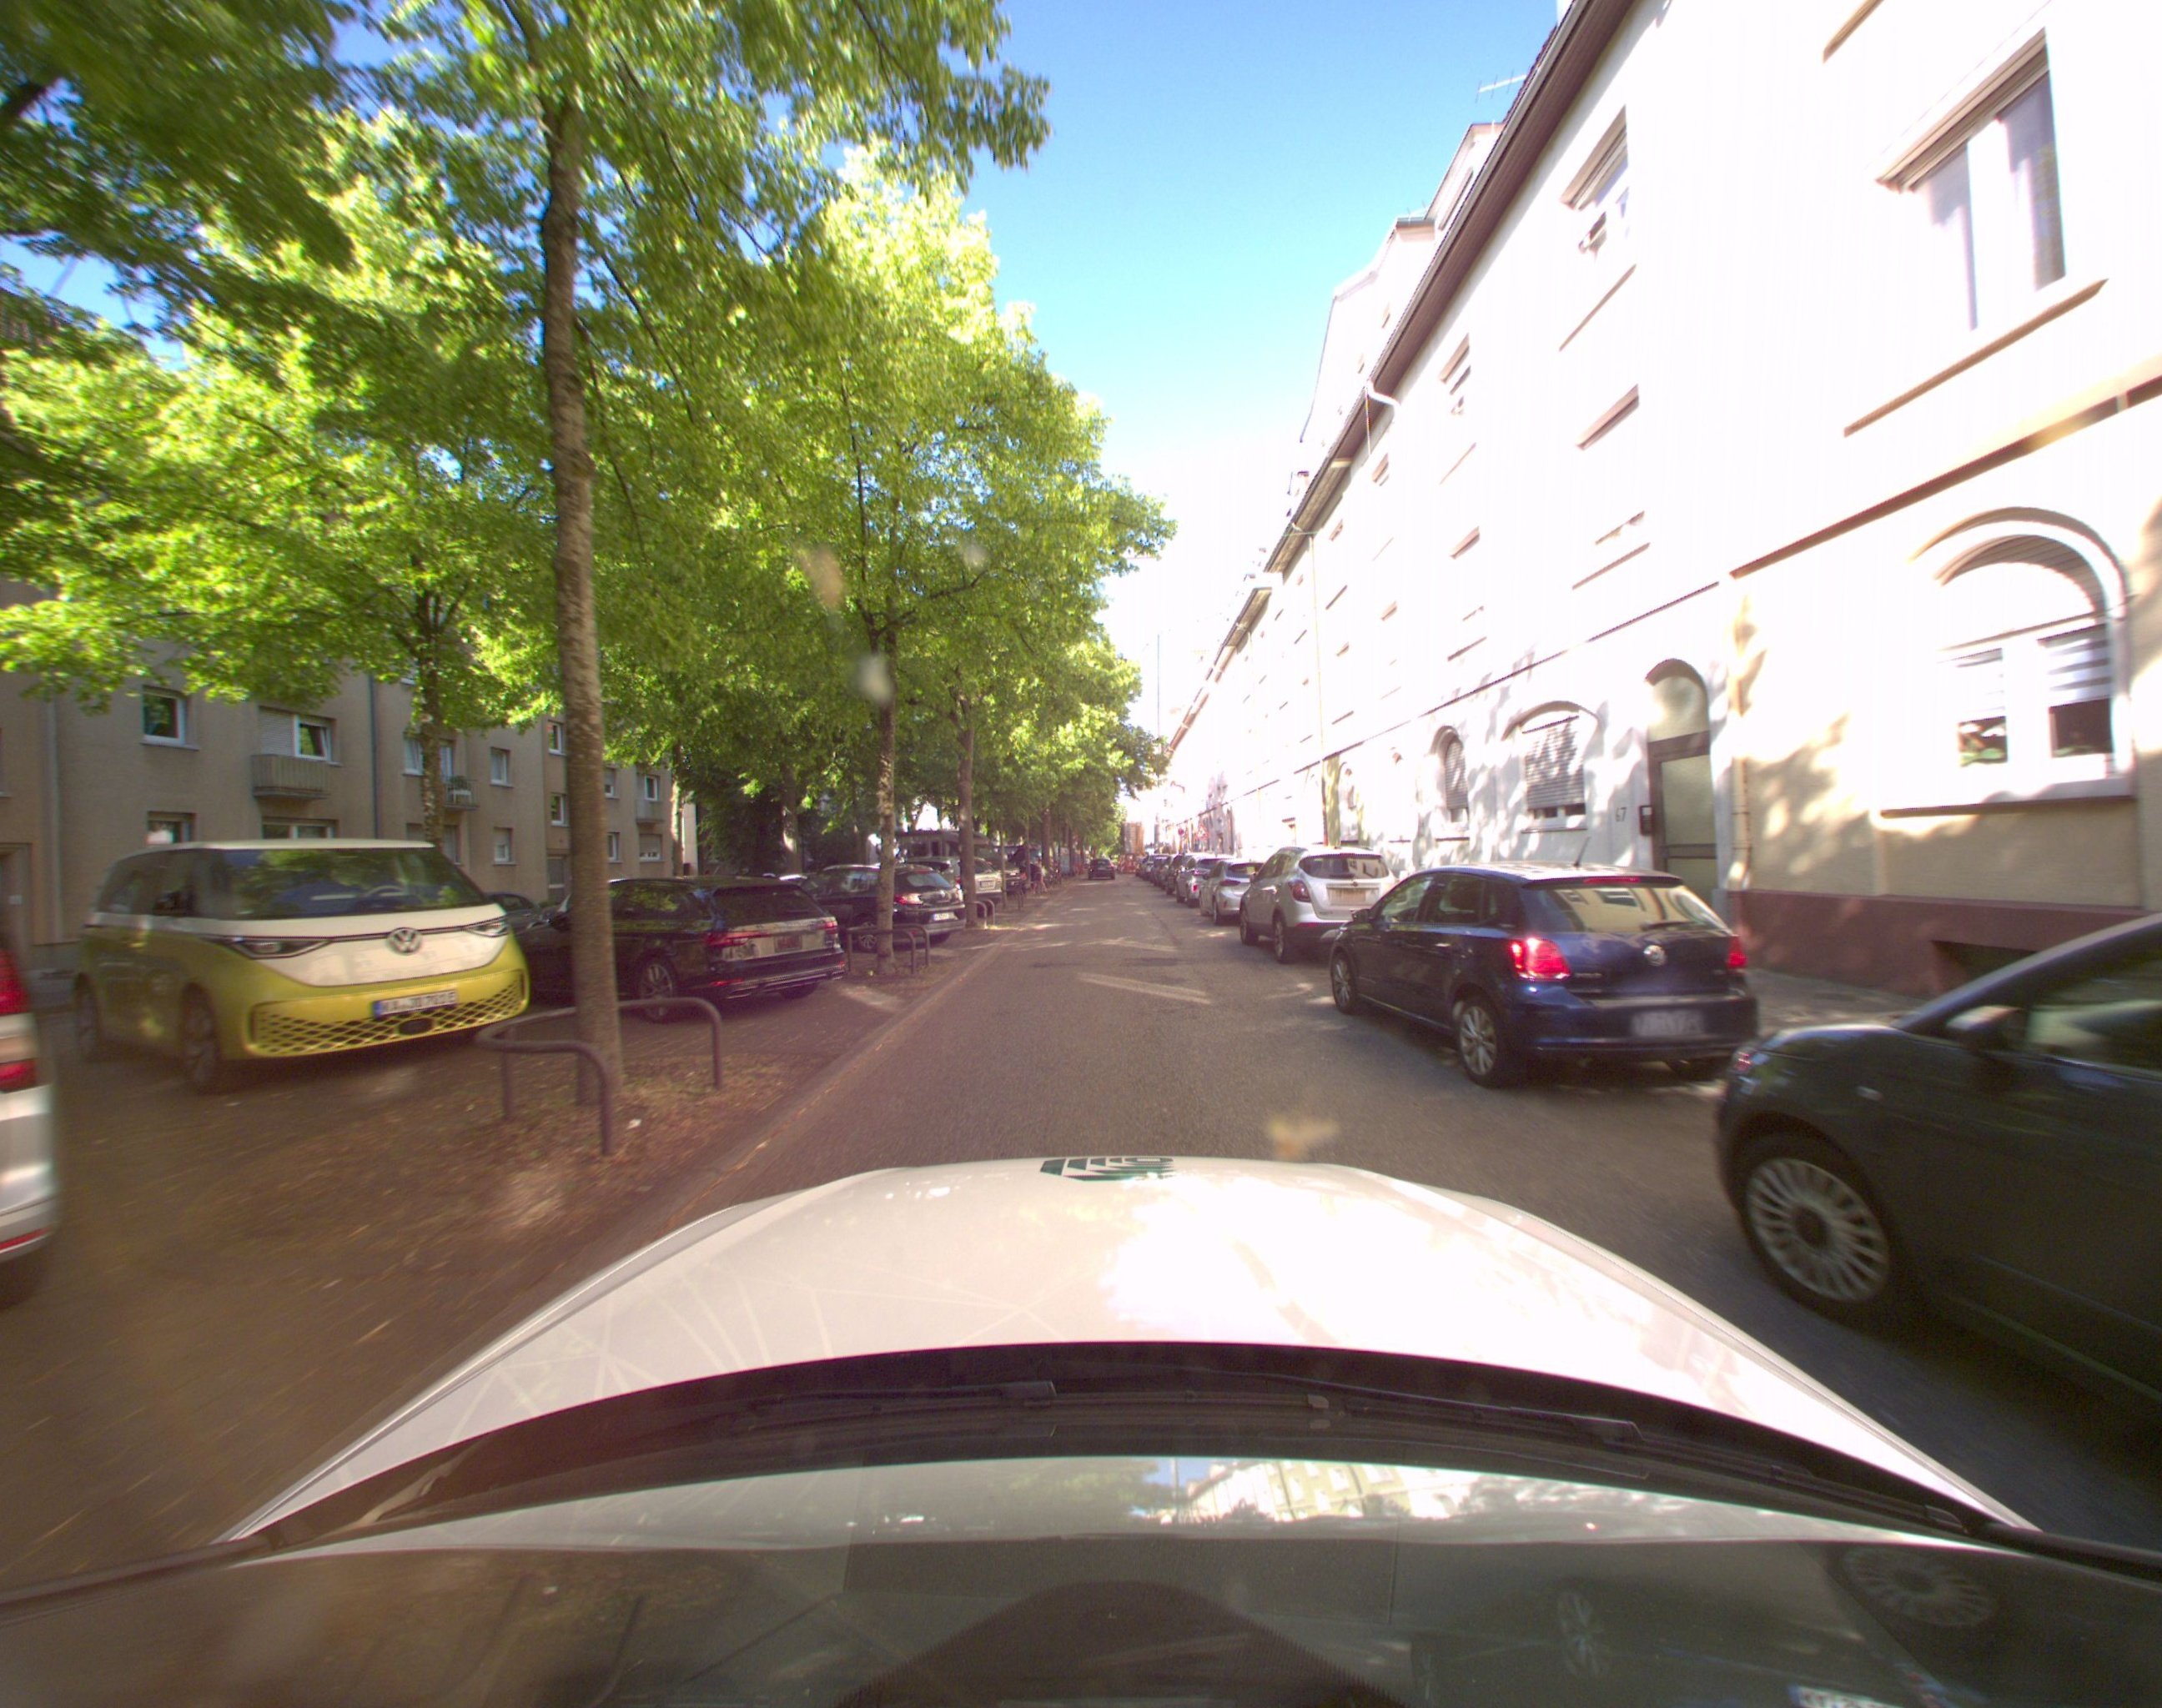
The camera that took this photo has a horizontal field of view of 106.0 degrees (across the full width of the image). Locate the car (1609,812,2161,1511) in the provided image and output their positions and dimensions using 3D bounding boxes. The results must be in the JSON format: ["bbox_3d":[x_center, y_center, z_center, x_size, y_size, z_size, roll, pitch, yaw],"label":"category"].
[{"bbox_3d":[3.119,0.638,1.711,1.616,1.498,3.594,-3,0,0],"label":"car"}]

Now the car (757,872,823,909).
[{"bbox_3d":[-14.077,1.734,39.610,1.657,1.499,3.771,-3,0,2],"label":"car"}]

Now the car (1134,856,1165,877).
[{"bbox_3d":[5.055,0.873,60.847,1.987,1.409,4.501,-2,0,1],"label":"car"}]

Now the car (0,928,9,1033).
[{"bbox_3d":[-15.336,1.740,8.869,1.885,1.387,4.001,-4,0,2],"label":"car"}]

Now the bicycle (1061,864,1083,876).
[{"bbox_3d":[-0.803,1.393,70.356,1.879,1.006,0.433,-3,-1,25],"label":"bicycle"}]

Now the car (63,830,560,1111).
[{"bbox_3d":[-7.030,0.868,7.345,4.546,1.832,2.031,-4,-1,31],"label":"car"}]

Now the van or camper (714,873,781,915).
[{"bbox_3d":[-14.206,1.666,34.850,1.590,1.555,2.698,-3,0,2],"label":"van or camper"}]

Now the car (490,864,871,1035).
[{"bbox_3d":[-4.638,0.953,9.208,4.431,1.455,1.799,-3,0,33],"label":"car"}]

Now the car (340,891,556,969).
[{"bbox_3d":[-14.829,1.715,19.410,1.885,1.418,4.001,-3,0,2],"label":"car"}]

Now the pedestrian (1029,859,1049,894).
[{"bbox_3d":[-1.830,0.977,35.413,0.609,1.456,0.522,-3,0,25],"label":"pedestrian"}]

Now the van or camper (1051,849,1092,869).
[{"bbox_3d":[-1.353,0.755,114.581,5.280,2.474,2.309,-3,0,34],"label":"van or camper"}]

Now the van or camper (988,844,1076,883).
[{"bbox_3d":[-3.368,0.662,55.770,5.447,2.275,2.234,-3,0,25],"label":"van or camper"}]

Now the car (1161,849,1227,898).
[{"bbox_3d":[4.090,0.662,30.089,1.718,1.596,4.155,-3,0,-1],"label":"car"}]

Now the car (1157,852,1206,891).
[{"bbox_3d":[4.262,0.715,34.986,1.625,1.534,3.592,-3,0,0],"label":"car"}]

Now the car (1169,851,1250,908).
[{"bbox_3d":[3.825,0.711,24.828,1.717,1.528,4.157,-3,0,0],"label":"car"}]

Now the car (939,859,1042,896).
[{"bbox_3d":[-4.016,1.060,36.140,4.274,1.424,1.685,-3,0,28],"label":"car"}]

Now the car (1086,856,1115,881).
[{"bbox_3d":[1.305,0.936,54.654,1.791,1.503,3.586,-3,0,1],"label":"car"}]

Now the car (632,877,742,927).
[{"bbox_3d":[-14.414,1.706,30.077,1.757,1.508,4.311,-3,0,2],"label":"car"}]

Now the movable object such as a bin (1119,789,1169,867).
[{"bbox_3d":[5.720,-2.284,73.804,3.444,6.759,2.384,-3,-1,34],"label":"movable object such as a bin"}]

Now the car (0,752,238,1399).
[{"bbox_3d":[-5.387,0.730,2.847,4.467,1.865,2.093,-3,0,26],"label":"car"}]

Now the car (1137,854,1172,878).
[{"bbox_3d":[5.007,0.816,55.910,1.786,1.523,3.960,-3,0,-3],"label":"car"}]

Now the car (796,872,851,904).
[{"bbox_3d":[-14.115,1.850,44.903,1.657,1.499,3.771,-3,0,2],"label":"car"}]

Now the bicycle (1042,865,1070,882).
[{"bbox_3d":[-1.583,1.226,52.046,1.730,1.006,0.507,-3,0,-29],"label":"bicycle"}]

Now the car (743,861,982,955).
[{"bbox_3d":[-4.060,0.949,14.858,4.366,1.462,1.727,-3,-1,34],"label":"car"}]

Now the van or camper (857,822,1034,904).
[{"bbox_3d":[-5.687,0.412,33.755,7.157,2.929,2.328,-3,0,28],"label":"van or camper"}]

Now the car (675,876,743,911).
[{"bbox_3d":[-18.792,1.963,41.348,1.618,1.482,3.613,-3,0,2],"label":"car"}]

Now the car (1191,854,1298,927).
[{"bbox_3d":[3.725,0.767,19.235,1.716,1.432,4.159,-3,0,1],"label":"car"}]

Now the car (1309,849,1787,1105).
[{"bbox_3d":[3.260,0.710,6.655,1.545,1.394,3.858,-3,0,-2],"label":"car"}]

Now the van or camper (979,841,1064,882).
[{"bbox_3d":[-4.401,0.571,60.044,5.811,2.637,2.269,-3,0,31],"label":"van or camper"}]

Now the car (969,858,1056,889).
[{"bbox_3d":[-3.650,1.047,43.161,4.431,1.443,1.744,-3,0,34],"label":"car"}]

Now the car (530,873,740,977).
[{"bbox_3d":[-7.654,1.139,13.888,3.586,1.455,1.830,-3,0,38],"label":"car"}]

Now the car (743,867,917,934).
[{"bbox_3d":[-6.018,1.042,19.393,3.990,1.403,1.835,-1,0,34],"label":"car"}]

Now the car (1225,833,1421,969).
[{"bbox_3d":[3.532,0.614,12.725,1.717,1.686,4.156,-3,0,-1],"label":"car"}]

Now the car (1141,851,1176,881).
[{"bbox_3d":[4.767,0.713,50.479,1.810,1.674,4.675,-3,0,2],"label":"car"}]

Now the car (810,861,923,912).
[{"bbox_3d":[-7.226,1.114,27.406,3.498,1.507,1.769,-3,0,35],"label":"car"}]

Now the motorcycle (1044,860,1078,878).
[{"bbox_3d":[-1.553,1.159,63.921,2.534,1.258,0.765,-3,0,9],"label":"motorcycle"}]

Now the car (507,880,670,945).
[{"bbox_3d":[-14.681,1.687,24.642,1.986,1.508,4.535,-3,0,2],"label":"car"}]

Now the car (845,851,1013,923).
[{"bbox_3d":[-4.033,0.881,21.433,4.094,1.679,1.770,-3,0,30],"label":"car"}]

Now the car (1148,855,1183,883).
[{"bbox_3d":[4.629,0.812,45.022,1.611,1.413,3.789,-3,0,2],"label":"car"}]

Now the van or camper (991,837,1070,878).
[{"bbox_3d":[-4.545,0.344,73.162,6.592,3.240,2.511,-3,0,30],"label":"van or camper"}]

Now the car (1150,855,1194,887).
[{"bbox_3d":[4.404,0.772,39.927,1.625,1.413,4.088,-3,0,0],"label":"car"}]

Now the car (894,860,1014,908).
[{"bbox_3d":[-4.582,1.087,29.226,3.948,1.507,1.768,-3,0,30],"label":"car"}]

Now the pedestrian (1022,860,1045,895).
[{"bbox_3d":[-2.051,1.000,34.853,0.703,1.456,0.600,-3,0,25],"label":"pedestrian"}]
